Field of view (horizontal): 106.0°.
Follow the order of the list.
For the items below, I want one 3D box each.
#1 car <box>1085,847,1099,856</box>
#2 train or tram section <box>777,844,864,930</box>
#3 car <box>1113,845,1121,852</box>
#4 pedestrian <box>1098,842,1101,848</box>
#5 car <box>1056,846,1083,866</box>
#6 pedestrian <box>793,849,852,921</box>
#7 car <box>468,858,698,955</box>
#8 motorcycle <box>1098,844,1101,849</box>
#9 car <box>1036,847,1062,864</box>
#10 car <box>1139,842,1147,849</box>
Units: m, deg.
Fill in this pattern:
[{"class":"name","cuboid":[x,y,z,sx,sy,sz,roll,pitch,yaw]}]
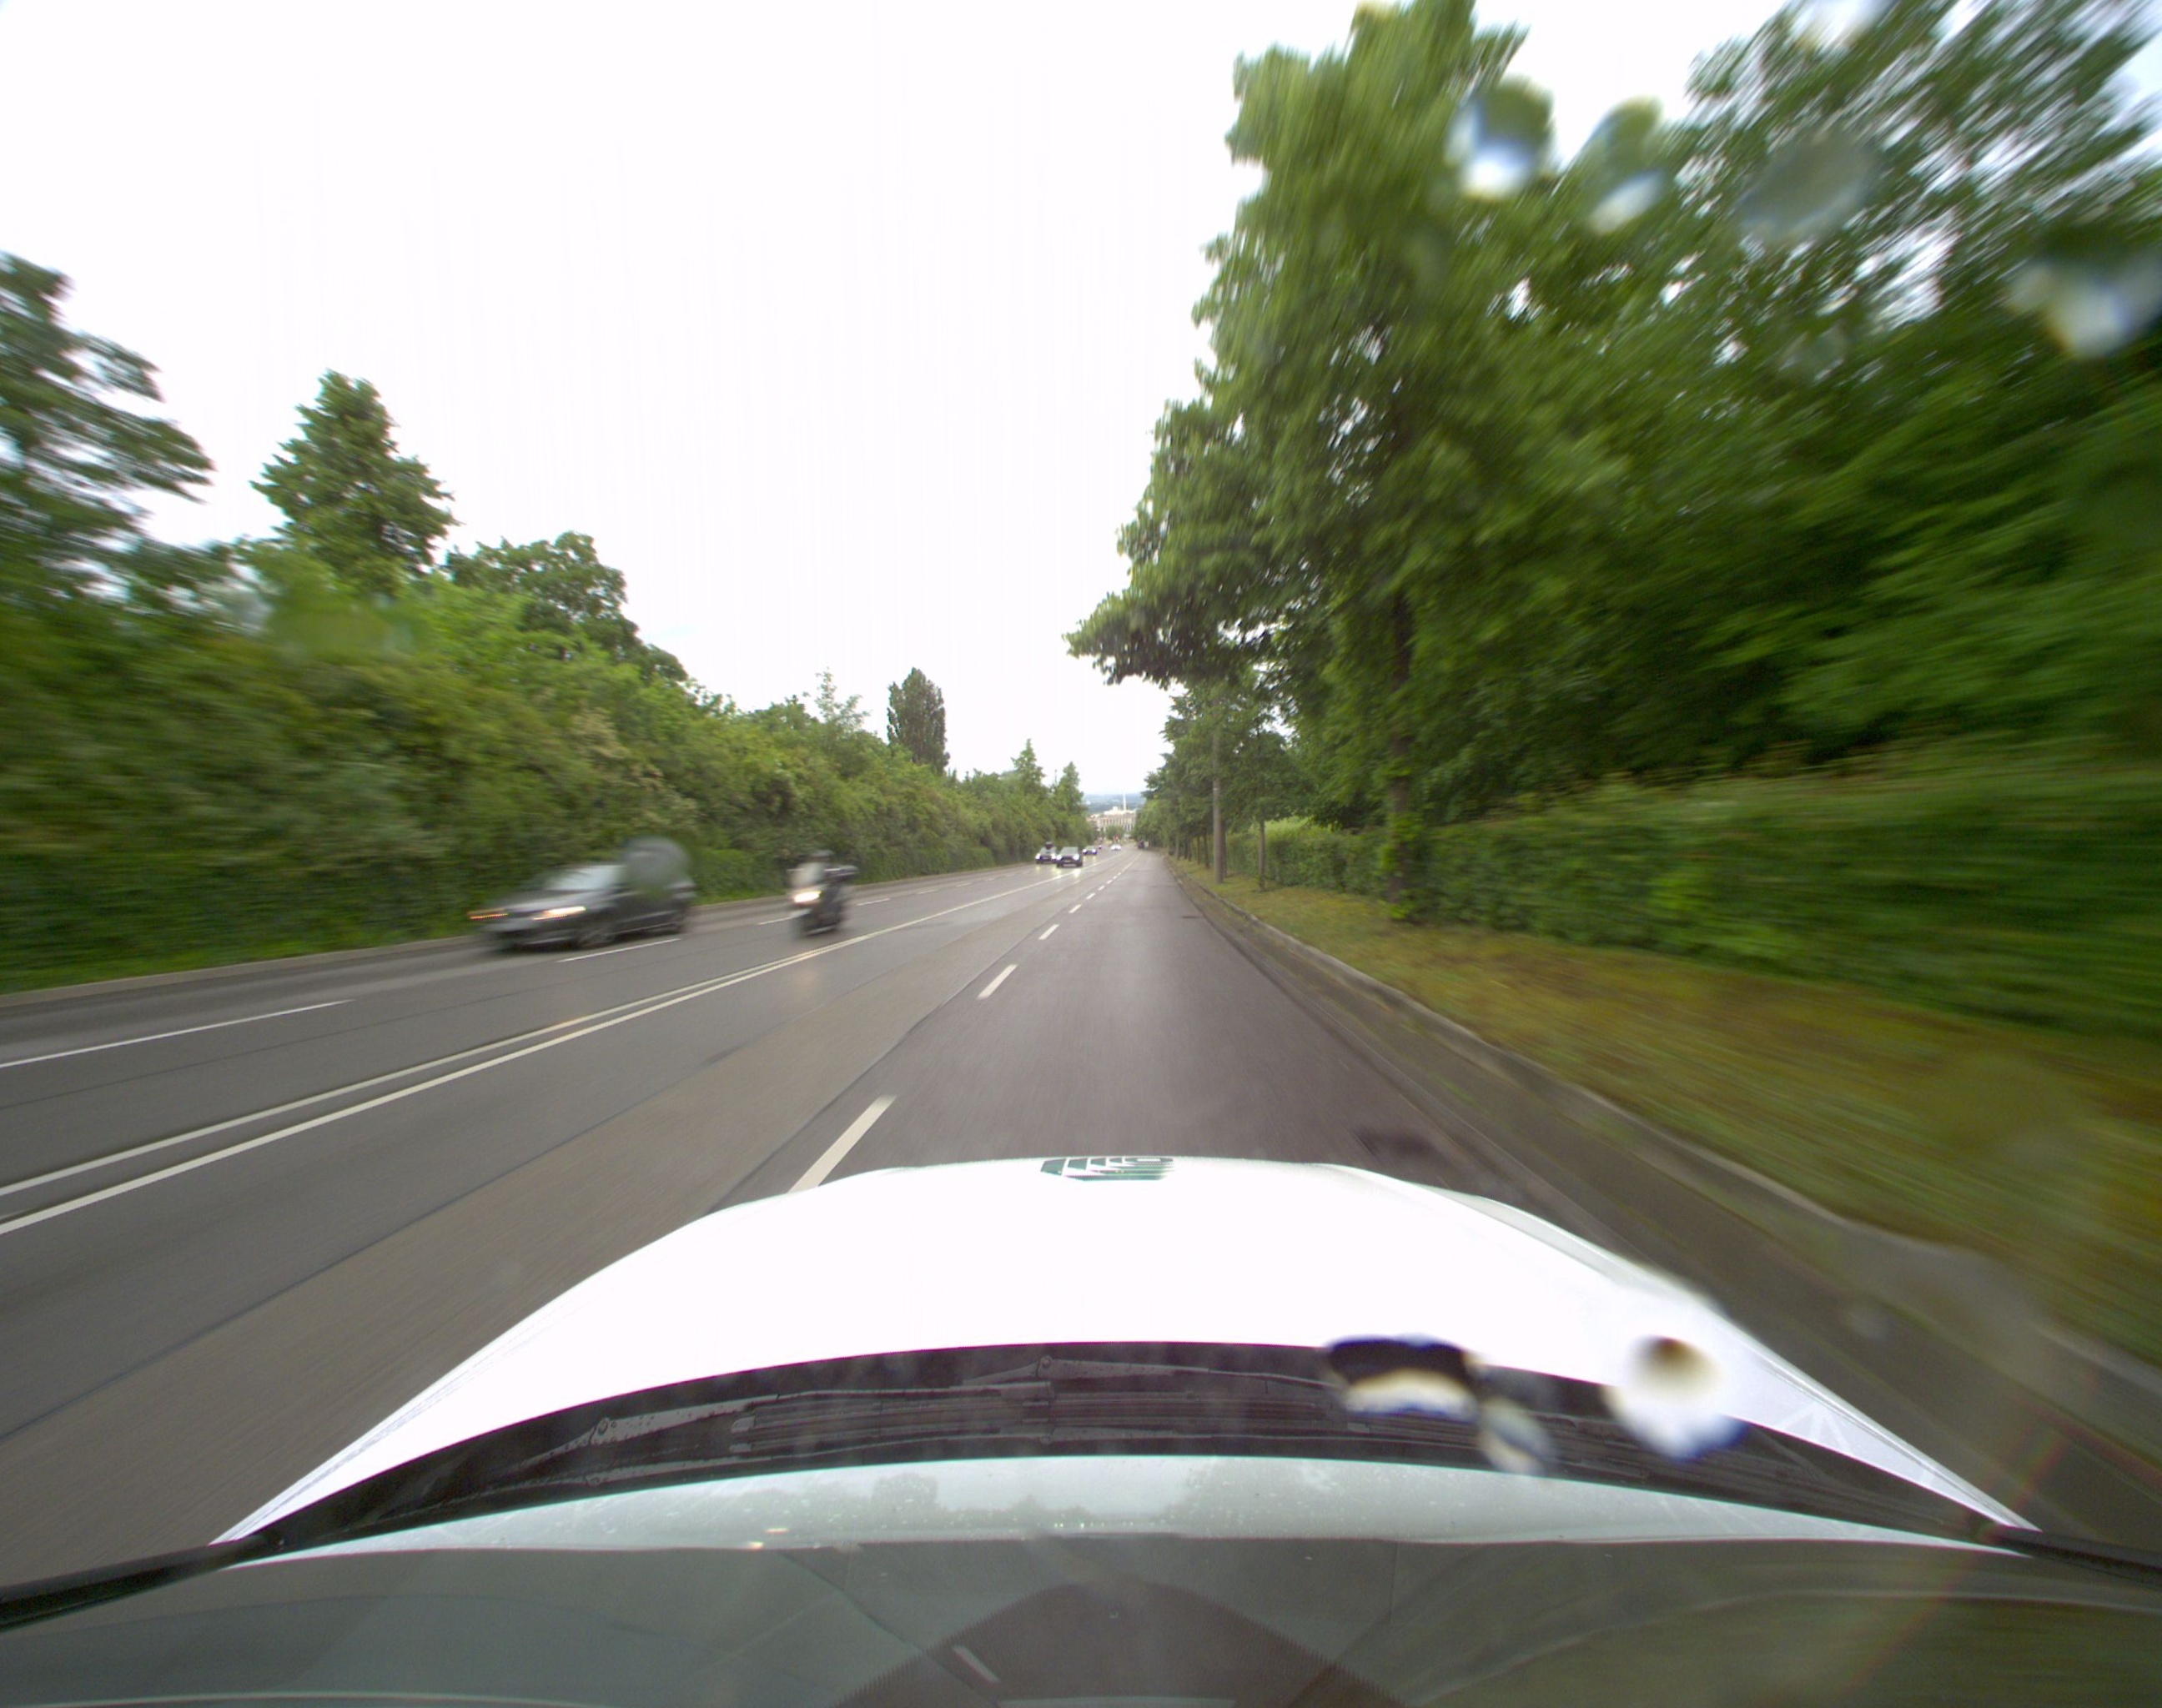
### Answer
[{"class":"car","cuboid":[1.679,-0.405,124.341,1.751,1.381,4.845,0,1,5]},{"class":"train or tram section","cuboid":[-5.109,0.599,16.163,0.787,1.570,2.386,0,0,4]},{"class":"car","cuboid":[7.875,-1.266,177.740,1.706,1.505,4.523,0,1,5]},{"class":"pedestrian","cuboid":[4.632,-2.155,203.257,0.801,1.541,1.113,-1,0,5]},{"class":"car","cuboid":[-0.940,0.143,68.534,1.804,1.657,4.601,0,0,4]},{"class":"pedestrian","cuboid":[-5.116,0.599,16.161,0.787,1.383,0.975,0,0,4]},{"class":"car","cuboid":[-8.495,0.820,14.303,1.541,1.437,3.700,-1,0,4]},{"class":"motorcycle","cuboid":[4.633,-1.814,203.241,0.801,1.131,2.234,-1,1,5]},{"class":"car","cuboid":[-3.008,0.128,78.477,1.890,1.552,4.637,0,0,5]},{"class":"car","cuboid":[15.846,-2.120,207.430,1.840,1.702,3.798,0,0,5]}]
